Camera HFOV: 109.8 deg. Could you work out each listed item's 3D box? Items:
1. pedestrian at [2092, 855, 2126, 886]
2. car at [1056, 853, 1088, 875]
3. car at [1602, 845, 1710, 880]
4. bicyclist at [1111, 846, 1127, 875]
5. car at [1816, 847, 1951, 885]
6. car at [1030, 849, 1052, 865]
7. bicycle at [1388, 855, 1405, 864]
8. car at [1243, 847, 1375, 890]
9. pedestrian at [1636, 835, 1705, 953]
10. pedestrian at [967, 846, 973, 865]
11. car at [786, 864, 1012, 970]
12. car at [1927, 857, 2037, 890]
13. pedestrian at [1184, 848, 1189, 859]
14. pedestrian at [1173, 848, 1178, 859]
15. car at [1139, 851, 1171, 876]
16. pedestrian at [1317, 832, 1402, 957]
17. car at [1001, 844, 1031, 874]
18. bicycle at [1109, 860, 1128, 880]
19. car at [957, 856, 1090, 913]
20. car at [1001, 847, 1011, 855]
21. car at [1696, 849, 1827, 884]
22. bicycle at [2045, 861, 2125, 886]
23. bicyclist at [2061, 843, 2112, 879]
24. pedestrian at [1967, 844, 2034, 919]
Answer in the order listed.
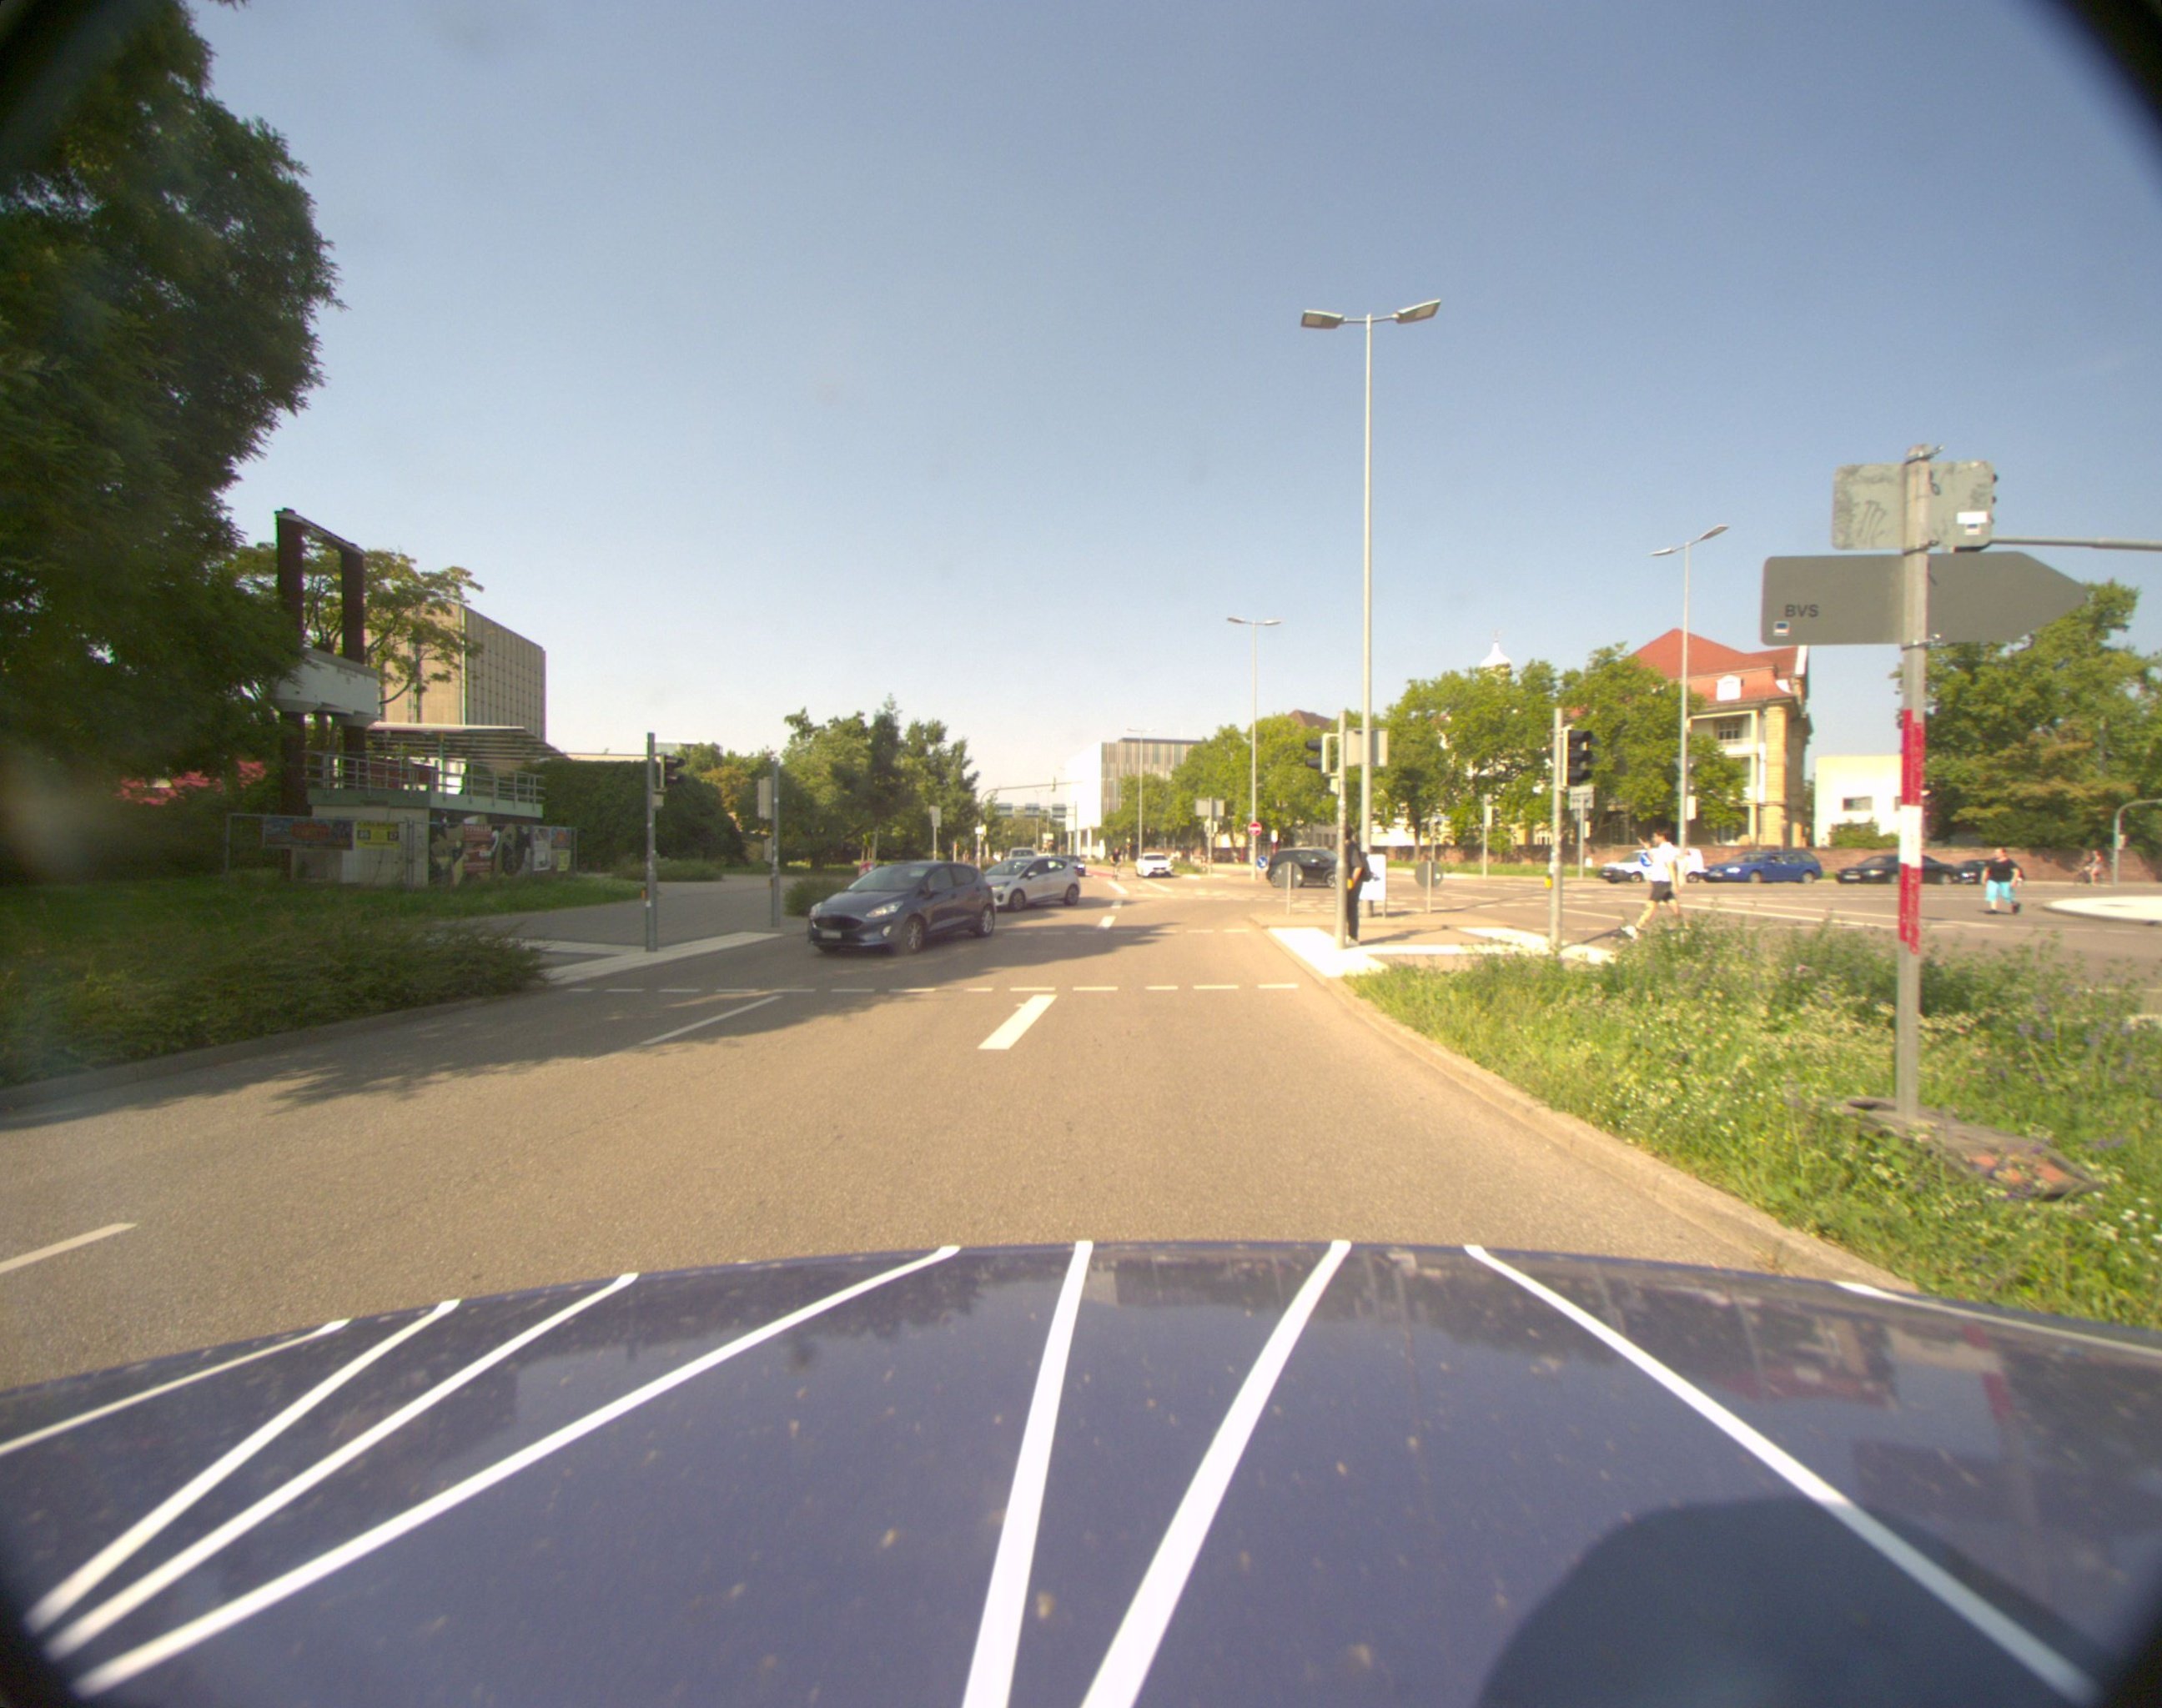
[{"bbox_3d":[64.944,1.048,48.009,0.907,2.001,0.822,0,-2,5],"label":"pedestrian"},{"bbox_3d":[-0.636,0.630,50.694,1.910,1.392,4.918,0,0,-4],"label":"car"},{"bbox_3d":[28.205,0.455,37.352,3.997,1.667,1.757,0,-2,0],"label":"car"},{"bbox_3d":[2.094,0.360,42.092,0.749,1.626,0.875,0,1,-6],"label":"bicyclist"},{"bbox_3d":[33.509,0.466,31.779,4.000,1.543,1.998,0,1,-10],"label":"car"},{"bbox_3d":[-4.425,0.330,83.893,1.933,1.650,4.291,0,0,-10],"label":"car"},{"bbox_3d":[32.709,0.577,78.791,0.435,0.830,1.546,0,1,-34],"label":"bicycle"},{"bbox_3d":[8.909,0.520,29.972,1.857,1.569,4.700,-1,1,-43],"label":"car"},{"bbox_3d":[9.318,0.613,12.030,0.693,1.822,0.571,0,1,19],"label":"pedestrian"},{"bbox_3d":[-10.666,0.167,72.939,0.623,1.835,0.641,0,1,-8],"label":"pedestrian"},{"bbox_3d":[-2.887,0.943,13.147,1.637,1.418,4.328,-1,0,21],"label":"car"},{"bbox_3d":[46.844,1.014,39.545,3.999,1.667,1.756,0,-2,-6],"label":"car"},{"bbox_3d":[15.138,-0.071,109.077,0.484,1.641,0.593,1,-2,-27],"label":"pedestrian"},{"bbox_3d":[13.798,-0.050,111.053,0.536,1.562,0.501,-1,1,-29],"label":"pedestrian"},{"bbox_3d":[4.399,0.519,45.729,1.714,1.428,3.865,0,1,2],"label":"car"},{"bbox_3d":[4.195,0.591,11.520,1.081,1.829,0.730,0,1,9],"label":"pedestrian"},{"bbox_3d":[-4.236,0.266,50.079,1.846,1.864,4.971,-1,1,-3],"label":"car"},{"bbox_3d":[2.092,0.851,42.124,0.770,1.046,1.774,1,1,-6],"label":"bicycle"},{"bbox_3d":[-1.545,0.809,21.593,1.716,1.425,3.868,-1,0,34],"label":"car"},{"bbox_3d":[-14.730,-0.582,148.878,1.832,1.674,3.996,0,1,-9],"label":"car"},{"bbox_3d":[27.321,0.469,30.533,4.334,1.321,1.606,0,1,-11],"label":"car"},{"bbox_3d":[49.140,0.975,37.182,3.077,1.197,0.887,0,-2,-6],"label":"bicycle"},{"bbox_3d":[49.221,0.361,37.204,1.369,1.735,0.887,0,-2,-6],"label":"bicyclist"},{"bbox_3d":[19.990,0.580,16.526,0.668,1.556,0.752,0,2,-27],"label":"pedestrian"}]
